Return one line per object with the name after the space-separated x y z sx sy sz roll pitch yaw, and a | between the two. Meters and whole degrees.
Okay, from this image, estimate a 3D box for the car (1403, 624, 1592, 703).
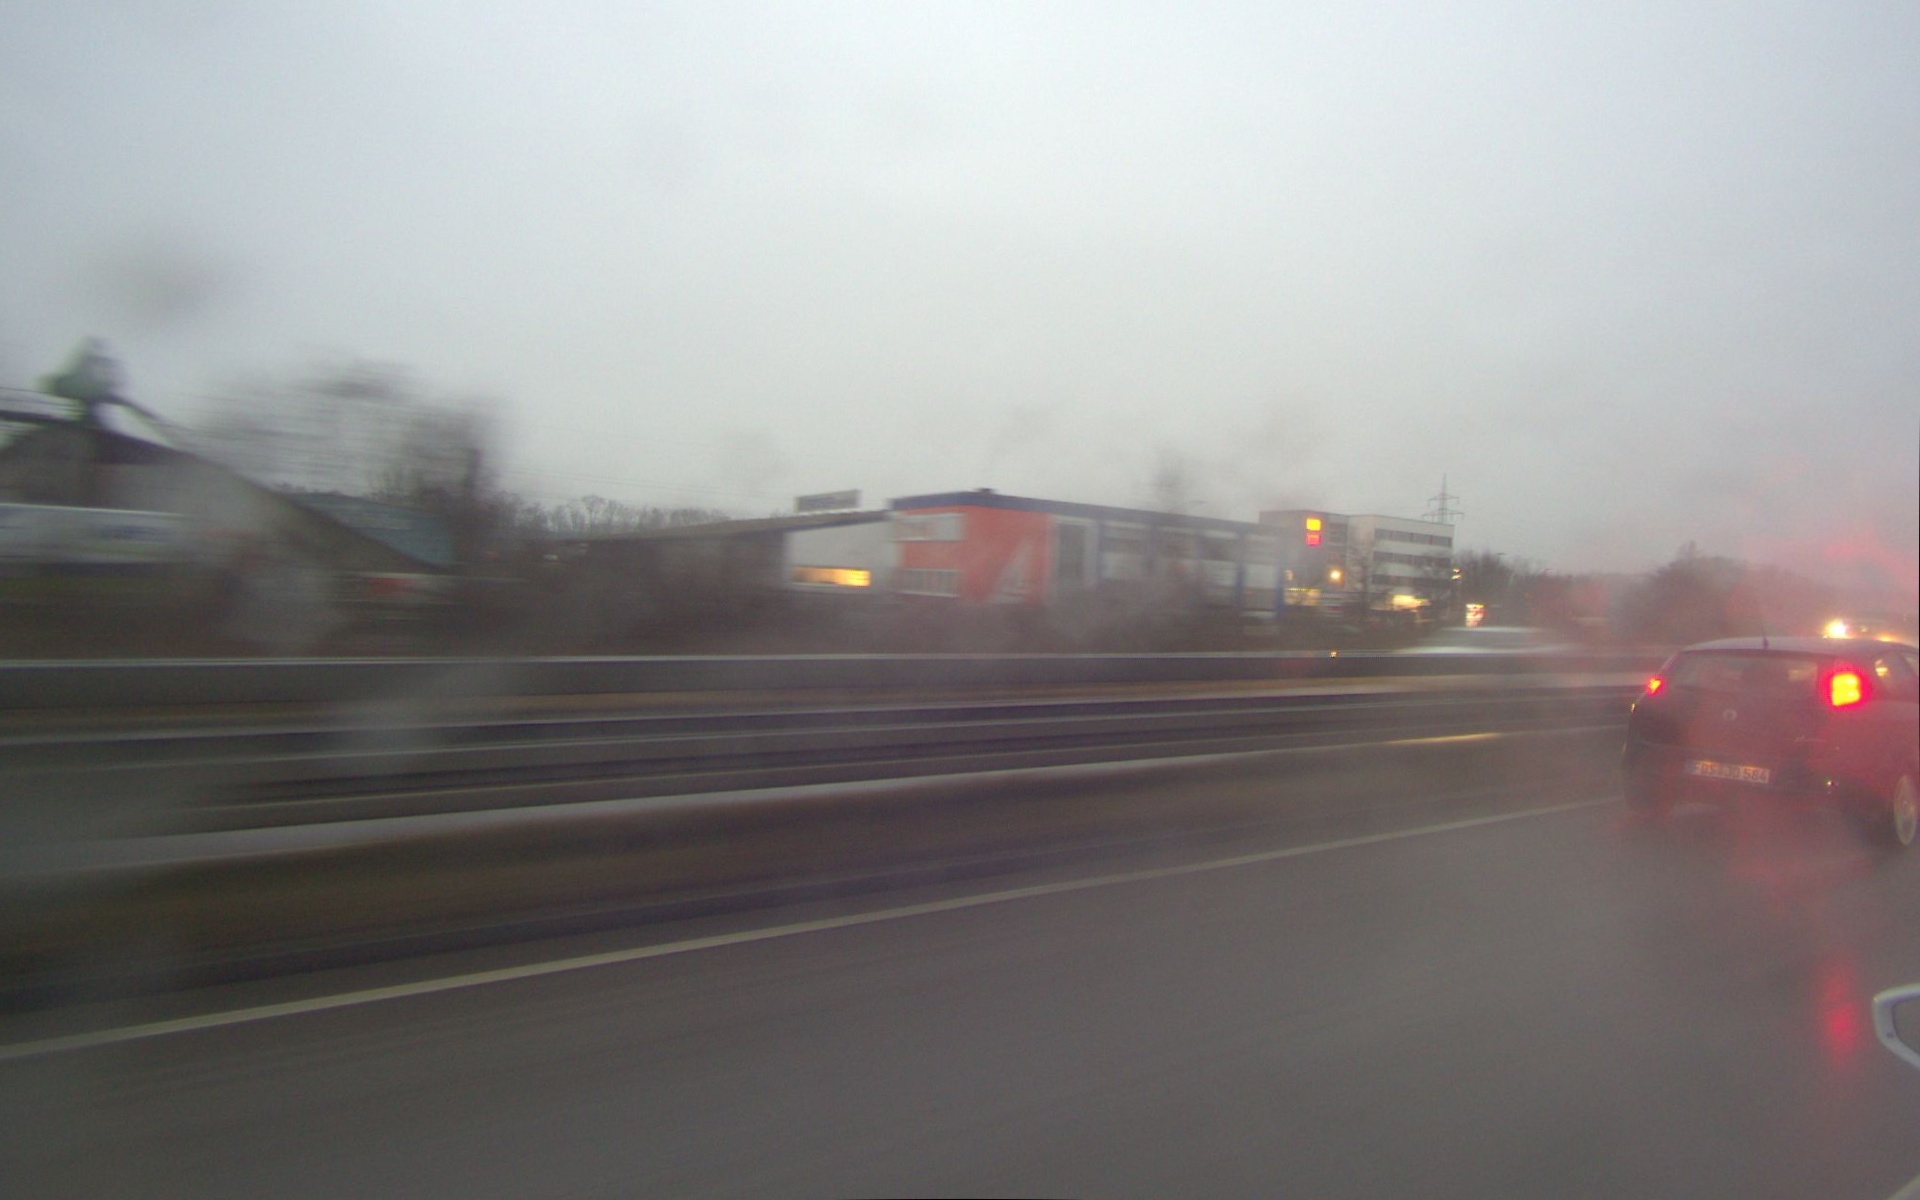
12.700 1.452 23.644 4.634 1.706 1.785 2 -1 -31 | car

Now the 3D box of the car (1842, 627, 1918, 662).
46.812 2.228 51.074 4.384 1.695 1.981 1 -1 -35 | car

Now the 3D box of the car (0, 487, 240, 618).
-25.568 -1.219 26.751 9.798 3.253 3.185 1 -1 -23 | car

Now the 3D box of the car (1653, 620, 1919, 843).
7.496 0.963 8.298 3.960 1.410 1.615 3 -1 -35 | car
